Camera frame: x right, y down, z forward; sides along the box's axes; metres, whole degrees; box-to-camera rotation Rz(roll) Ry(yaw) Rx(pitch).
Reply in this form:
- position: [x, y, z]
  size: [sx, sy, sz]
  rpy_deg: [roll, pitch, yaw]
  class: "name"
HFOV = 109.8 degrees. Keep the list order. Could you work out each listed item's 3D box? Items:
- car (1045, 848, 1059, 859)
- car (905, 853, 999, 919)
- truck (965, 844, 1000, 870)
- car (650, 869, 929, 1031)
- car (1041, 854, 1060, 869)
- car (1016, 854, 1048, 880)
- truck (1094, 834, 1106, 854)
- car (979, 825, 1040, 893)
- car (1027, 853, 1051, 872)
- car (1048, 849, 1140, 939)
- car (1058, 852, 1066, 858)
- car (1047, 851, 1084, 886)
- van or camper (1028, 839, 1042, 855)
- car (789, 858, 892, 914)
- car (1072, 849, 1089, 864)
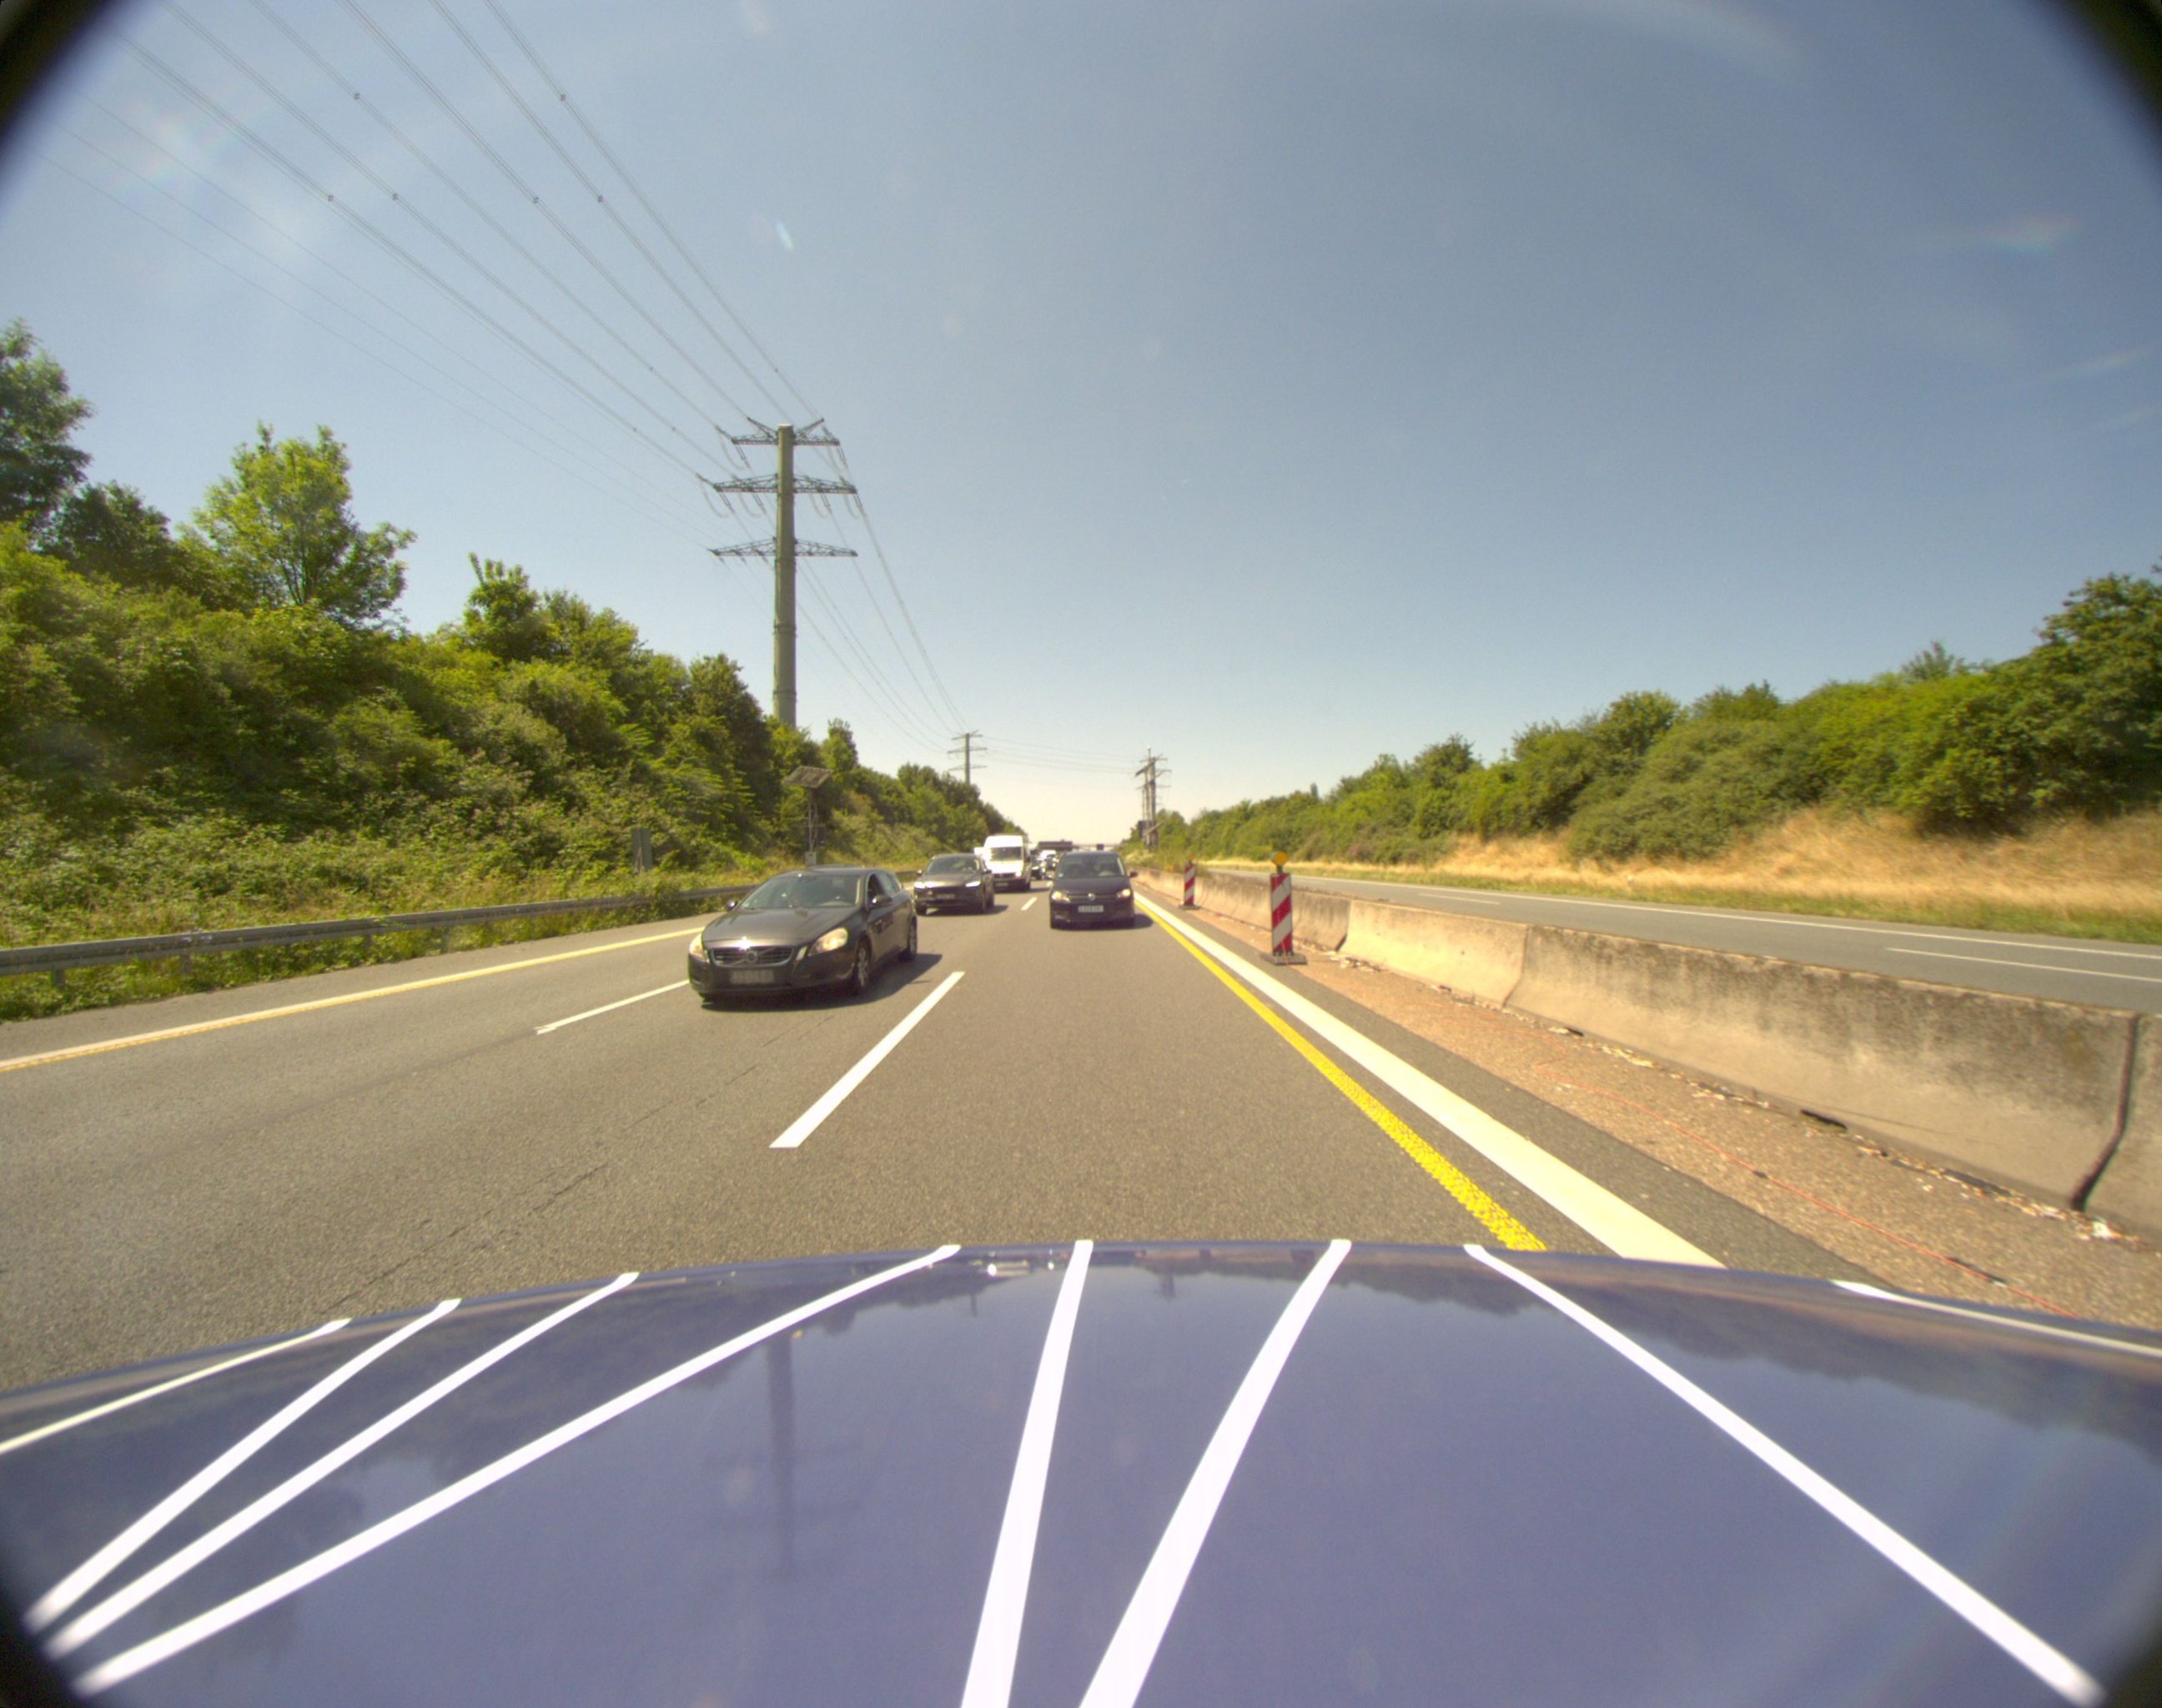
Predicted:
- position: [-4.023, -0.101, 107.180]
  size: [1.720, 1.510, 3.873]
  rpy_deg: [-2, 1, 1]
  class: "car"
- position: [-3.559, 0.817, 21.679]
  size: [1.893, 1.602, 4.219]
  rpy_deg: [-2, 1, 0]
  class: "car"
- position: [-8.704, 0.230, 67.649]
  size: [2.253, 2.155, 5.728]
  rpy_deg: [-2, 1, 1]
  class: "truck"
- position: [-3.343, 0.999, 9.805]
  size: [1.799, 1.411, 4.509]
  rpy_deg: [-2, 1, 0]
  class: "car"
- position: [-3.188, 0.760, 80.768]
  size: [1.720, 1.510, 3.873]
  rpy_deg: [-2, 1, 1]
  class: "car"
- position: [-3.173, 0.810, 49.626]
  size: [1.720, 1.510, 3.873]
  rpy_deg: [-2, 1, 1]
  class: "car"
- position: [3.202, -1.773, 131.082]
  size: [1.892, 3.263, 5.590]
  rpy_deg: [-2, 1, 1]
  class: "truck"
- position: [-3.116, 0.185, 34.521]
  size: [2.042, 2.703, 6.705]
  rpy_deg: [-2, 1, 0]
  class: "car"
- position: [-3.510, 0.704, 64.444]
  size: [1.720, 1.510, 3.873]
  rpy_deg: [-2, 1, 1]
  class: "car"
- position: [0.250, 0.755, 16.616]
  size: [1.700, 1.641, 4.219]
  rpy_deg: [-2, 1, 0]
  class: "car"
- position: [-4.506, 0.219, 178.150]
  size: [1.720, 1.510, 3.873]
  rpy_deg: [-2, 1, 1]
  class: "car"
- position: [-0.758, 0.687, 38.997]
  size: [1.700, 1.641, 4.219]
  rpy_deg: [-2, 1, 0]
  class: "car"
- position: [-7.854, -1.190, 129.614]
  size: [1.979, 2.511, 4.369]
  rpy_deg: [-2, 1, 1]
  class: "van or camper"
- position: [-7.767, 0.965, 25.088]
  size: [1.796, 1.503, 4.853]
  rpy_deg: [-2, 1, 0]
  class: "car"
- position: [-0.031, 0.247, 90.327]
  size: [1.973, 1.682, 3.873]
  rpy_deg: [-2, 1, 1]
  class: "car"
